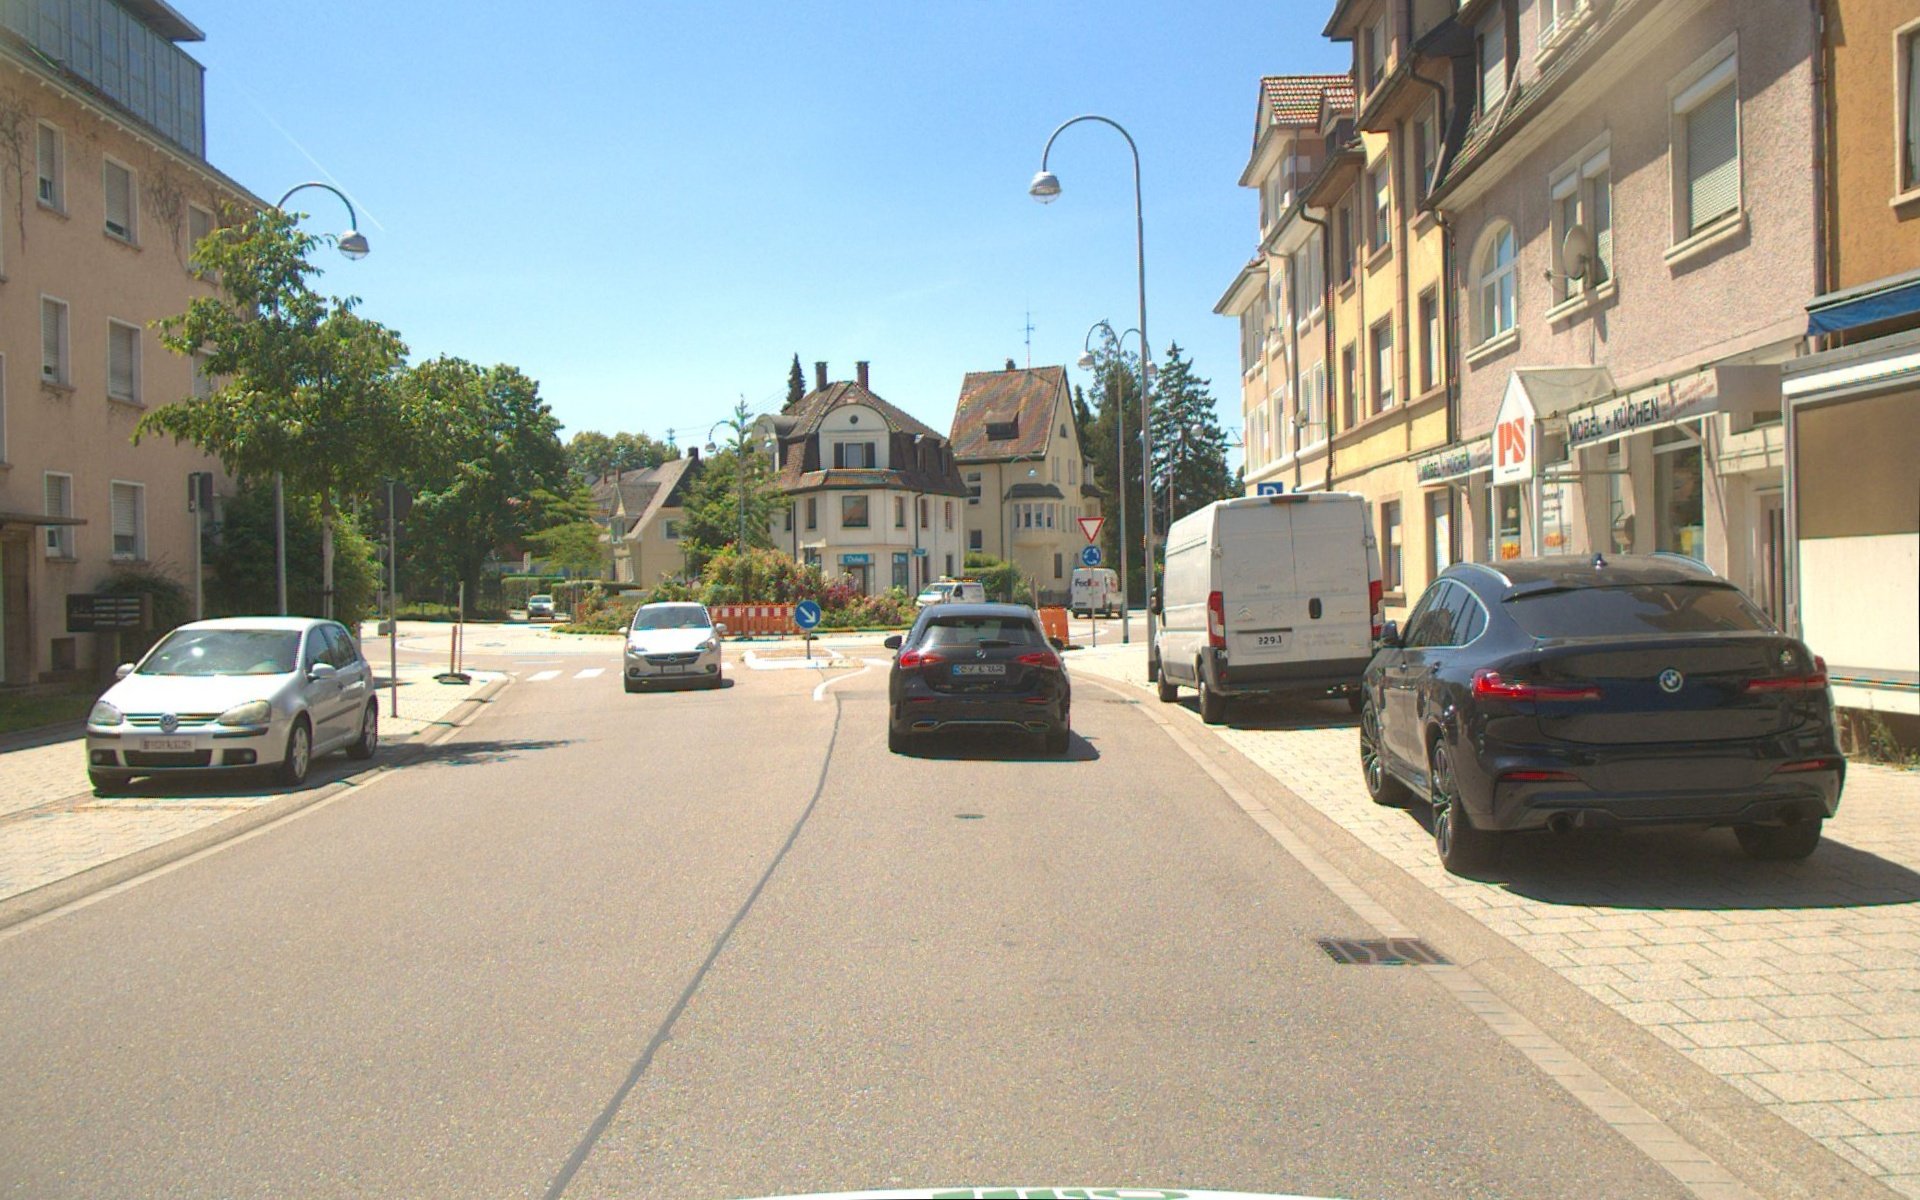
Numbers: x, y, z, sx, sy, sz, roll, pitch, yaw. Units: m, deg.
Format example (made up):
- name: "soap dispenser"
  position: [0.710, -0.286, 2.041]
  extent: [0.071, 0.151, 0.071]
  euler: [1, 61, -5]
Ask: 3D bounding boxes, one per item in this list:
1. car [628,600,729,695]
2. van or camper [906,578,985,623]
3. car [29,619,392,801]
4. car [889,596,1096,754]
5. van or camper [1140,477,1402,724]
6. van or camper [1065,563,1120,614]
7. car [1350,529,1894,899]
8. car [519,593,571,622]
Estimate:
- name: "car"
  position: [-4.991, 0.794, 29.509]
  extent: [1.629, 1.523, 3.752]
  euler: [-2, 0, -9]
- name: "van or camper"
  position: [-0.673, 0.042, 84.233]
  extent: [1.954, 2.210, 5.409]
  euler: [0, -1, 24]
- name: "car"
  position: [-6.862, 0.923, 15.659]
  extent: [1.955, 1.445, 4.082]
  euler: [0, 0, -7]
- name: "car"
  position: [0.251, 0.707, 17.226]
  extent: [1.914, 1.452, 3.998]
  euler: [0, -1, -2]
- name: "van or camper"
  position: [3.745, -0.001, 21.108]
  extent: [2.121, 2.634, 5.765]
  euler: [-2, 0, 0]
- name: "van or camper"
  position: [7.074, -0.629, 88.257]
  extent: [2.159, 2.656, 4.003]
  euler: [-1, 0, 16]
- name: "car"
  position: [3.561, 0.538, 9.837]
  extent: [1.855, 1.635, 4.368]
  euler: [-3, 0, 7]
- name: "car"
  position: [-26.021, 0.481, 103.811]
  extent: [1.747, 1.625, 3.923]
  euler: [-1, -2, 9]
